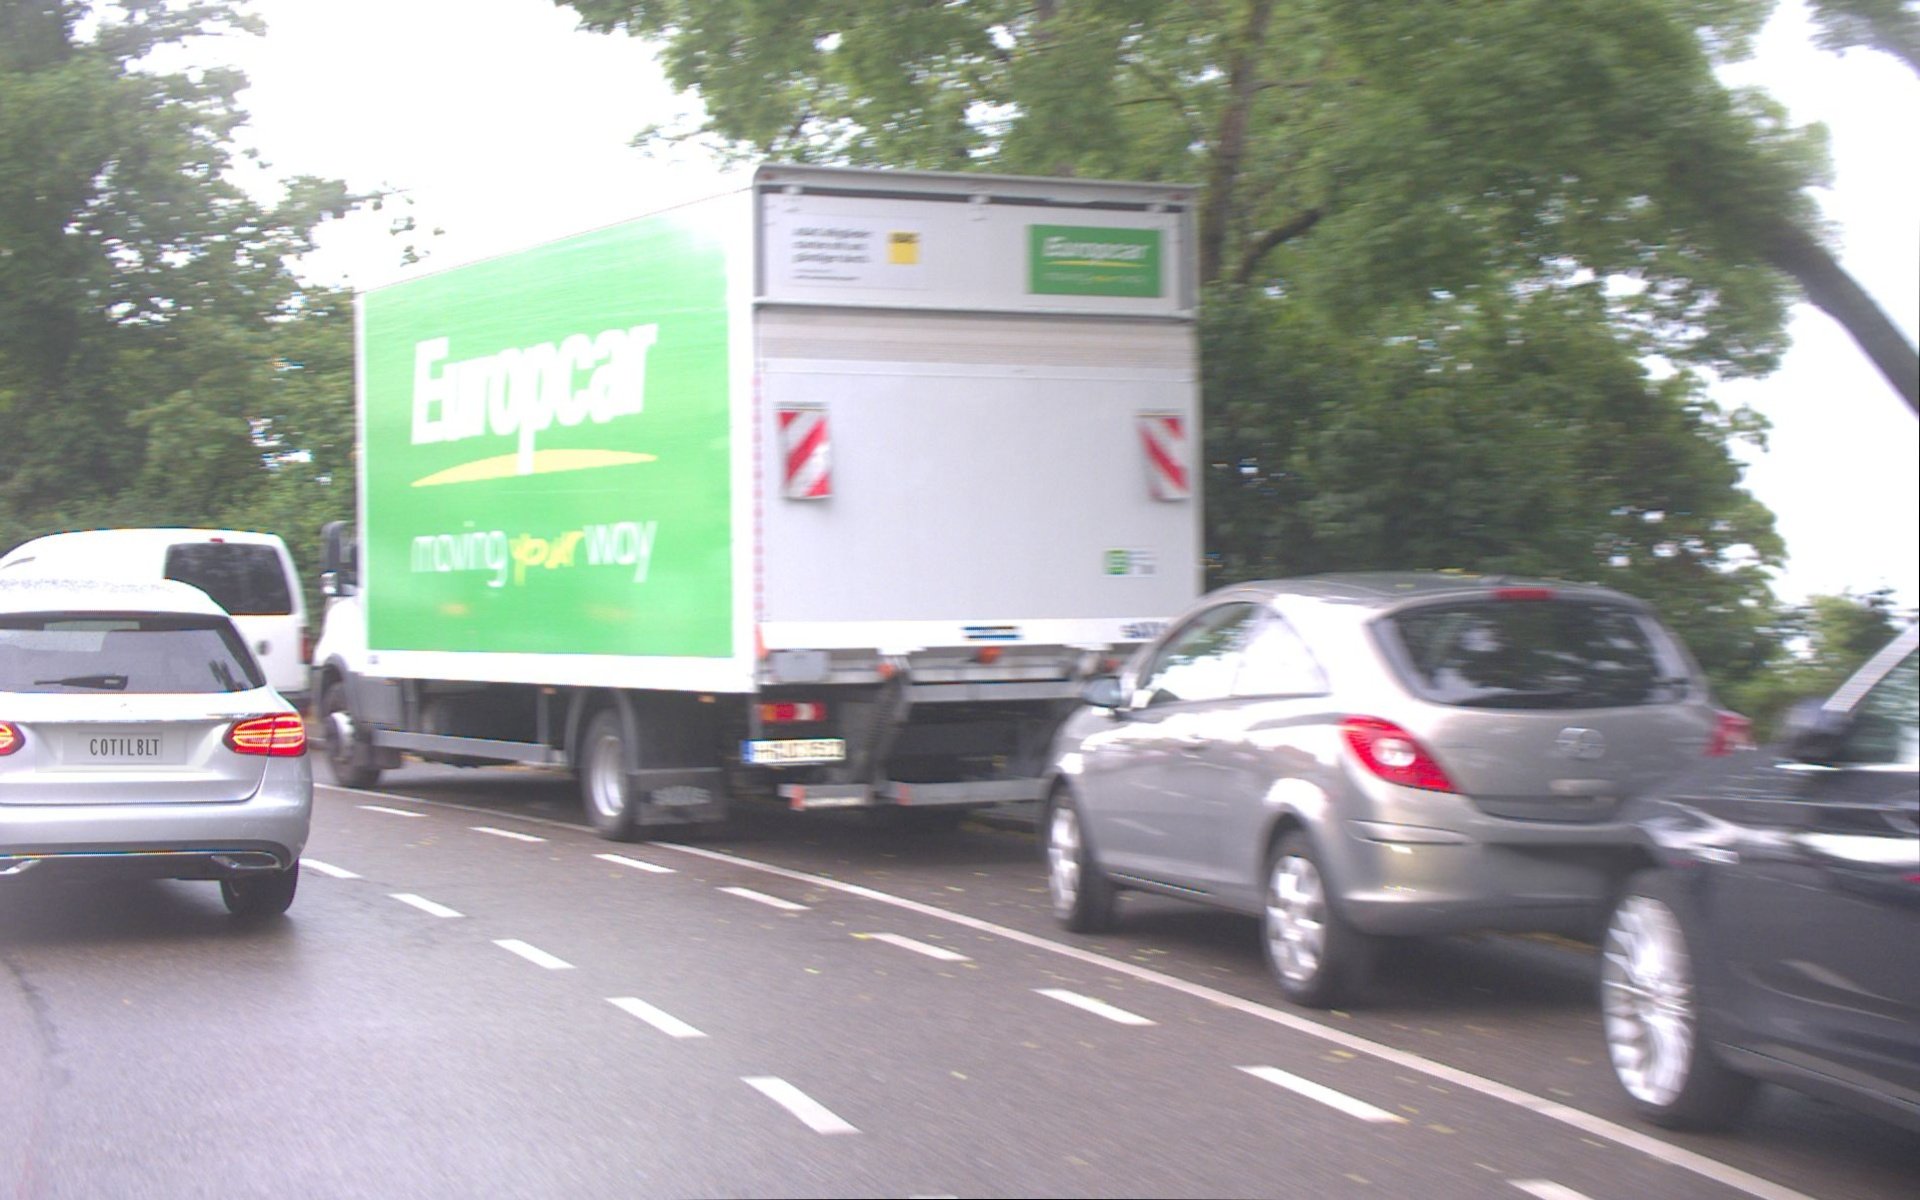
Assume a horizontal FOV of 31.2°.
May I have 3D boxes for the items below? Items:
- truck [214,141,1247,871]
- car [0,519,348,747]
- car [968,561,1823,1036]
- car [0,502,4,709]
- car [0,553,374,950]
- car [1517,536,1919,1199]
[{"bbox_3d":[-1.885,-0.538,20.894,2.773,3.458,8.934,-2,1,-28],"label":"truck"},{"bbox_3d":[-7.183,0.229,28.840,1.861,1.764,4.376,0,1,-45],"label":"car"},{"bbox_3d":[1.483,0.620,13.389,1.733,1.498,4.137,-1,1,-17],"label":"car"},{"bbox_3d":[-11.441,0.025,32.951,4.802,1.941,1.862,1,1,37],"label":"car"},{"bbox_3d":[-4.184,0.567,15.579,1.982,1.548,4.299,0,1,-24],"label":"car"},{"bbox_3d":[2.923,0.629,7.655,1.859,1.537,4.896,0,1,-9],"label":"car"}]
